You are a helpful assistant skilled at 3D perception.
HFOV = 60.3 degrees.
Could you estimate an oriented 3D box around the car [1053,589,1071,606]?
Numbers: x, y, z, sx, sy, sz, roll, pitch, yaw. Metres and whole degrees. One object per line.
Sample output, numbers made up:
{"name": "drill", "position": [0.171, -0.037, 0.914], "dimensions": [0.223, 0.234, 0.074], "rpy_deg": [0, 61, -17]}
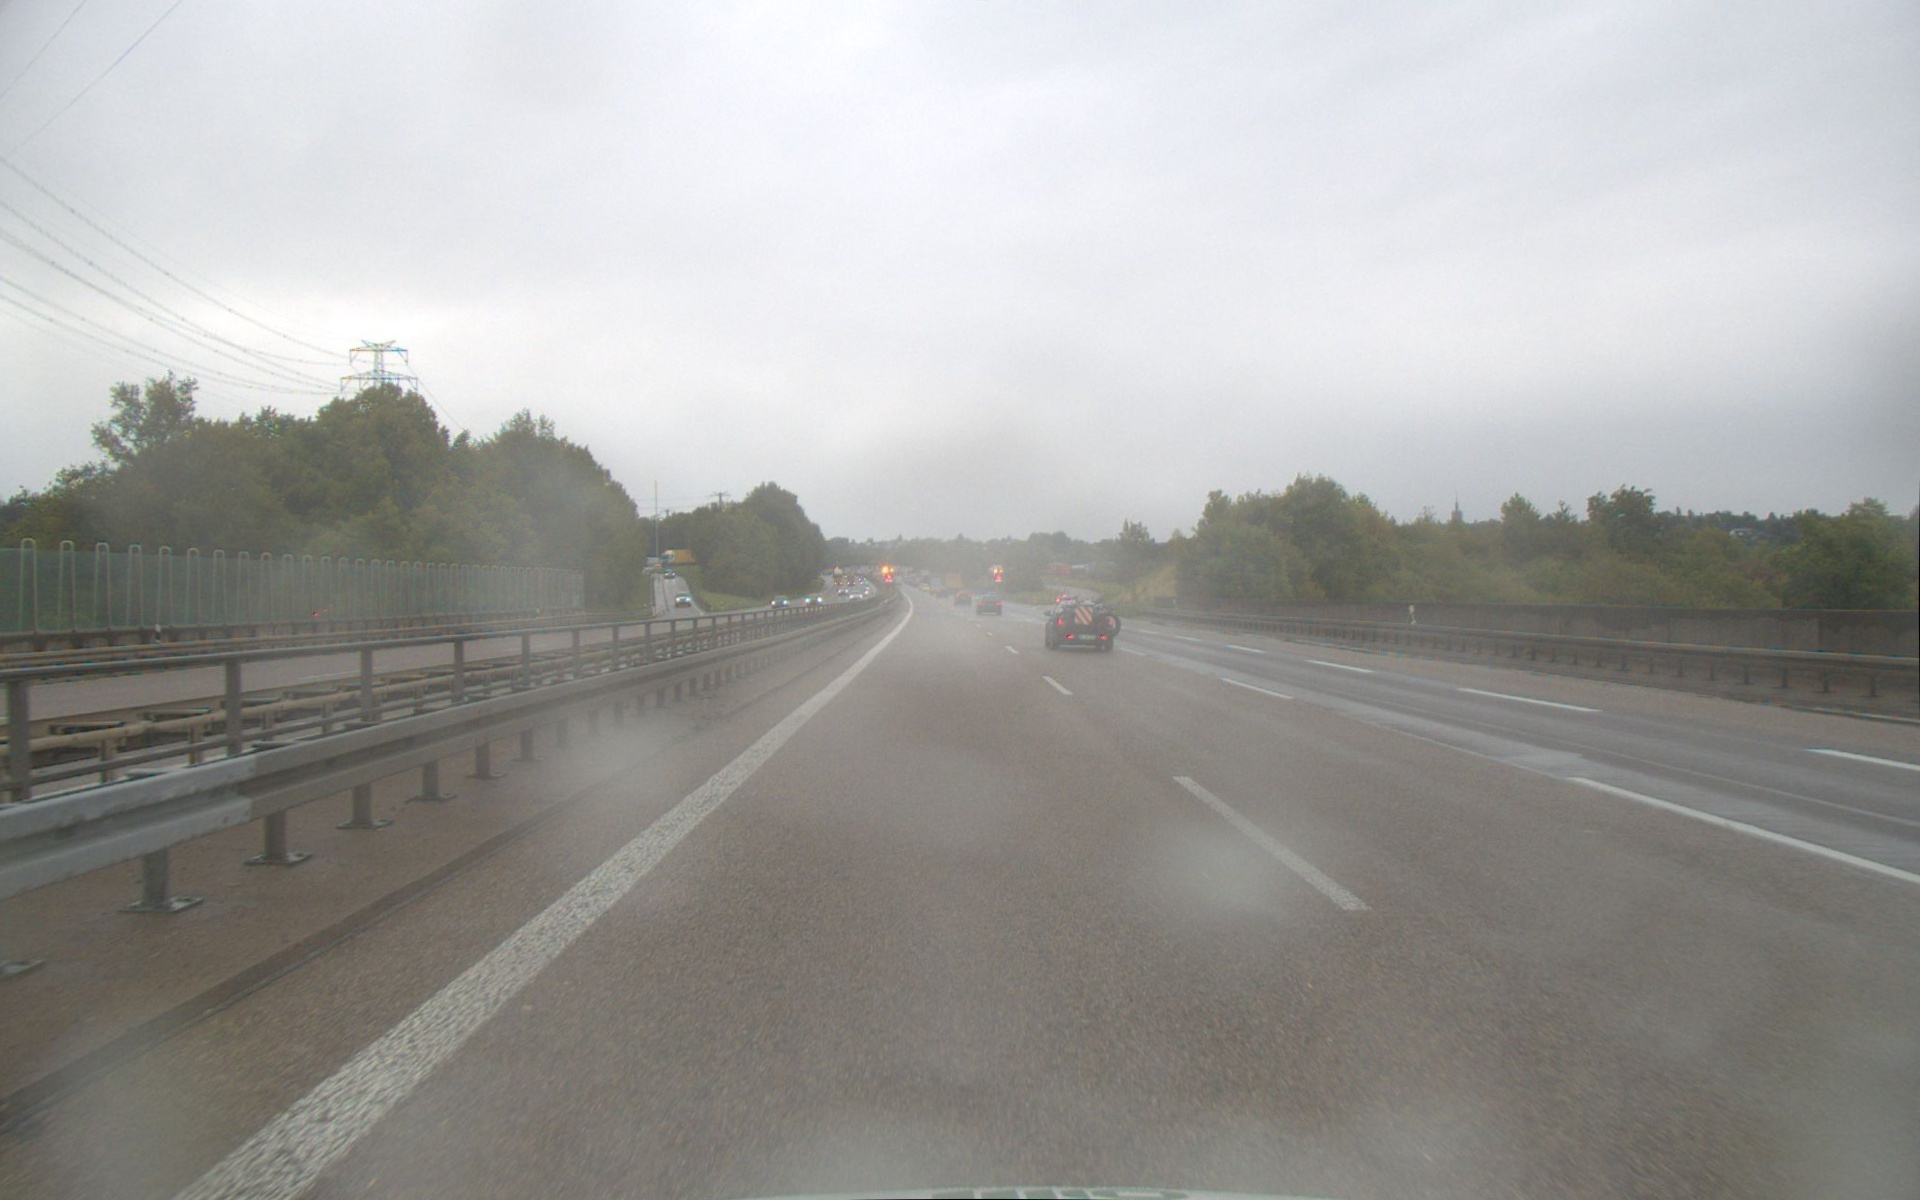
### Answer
{"name": "car", "position": [10.866, -0.299, 176.073], "dimensions": [1.882, 1.739, 4.002], "rpy_deg": [-1, 1, 4]}

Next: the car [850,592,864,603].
{"name": "car", "position": [-14.354, -0.337, 230.532], "dimensions": [1.623, 1.462, 4.088], "rpy_deg": [-2, 0, -1]}

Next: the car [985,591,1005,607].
{"name": "car", "position": [4.004, -0.142, 188.082], "dimensions": [1.954, 1.791, 3.998], "rpy_deg": [-1, 1, -3]}

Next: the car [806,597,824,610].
{"name": "car", "position": [-17.102, 0.390, 195.169], "dimensions": [1.779, 1.462, 4.088], "rpy_deg": [-2, 0, -1]}

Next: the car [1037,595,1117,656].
{"name": "car", "position": [3.402, 0.717, 48.953], "dimensions": [2.015, 1.700, 5.522], "rpy_deg": [1, 0, 0]}

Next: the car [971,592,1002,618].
{"name": "car", "position": [1.938, 0.351, 120.941], "dimensions": [1.954, 1.791, 3.998], "rpy_deg": [-1, 1, -3]}

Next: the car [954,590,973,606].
{"name": "car", "position": [0.362, -0.213, 184.134], "dimensions": [1.954, 1.657, 3.998], "rpy_deg": [-1, 1, -3]}

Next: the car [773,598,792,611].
{"name": "car", "position": [-19.844, 0.485, 184.899], "dimensions": [1.779, 1.413, 4.088], "rpy_deg": [-2, 0, -1]}

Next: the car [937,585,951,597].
{"name": "car", "position": [-2.495, -1.405, 258.677], "dimensions": [1.954, 1.657, 3.998], "rpy_deg": [-1, 1, -3]}
